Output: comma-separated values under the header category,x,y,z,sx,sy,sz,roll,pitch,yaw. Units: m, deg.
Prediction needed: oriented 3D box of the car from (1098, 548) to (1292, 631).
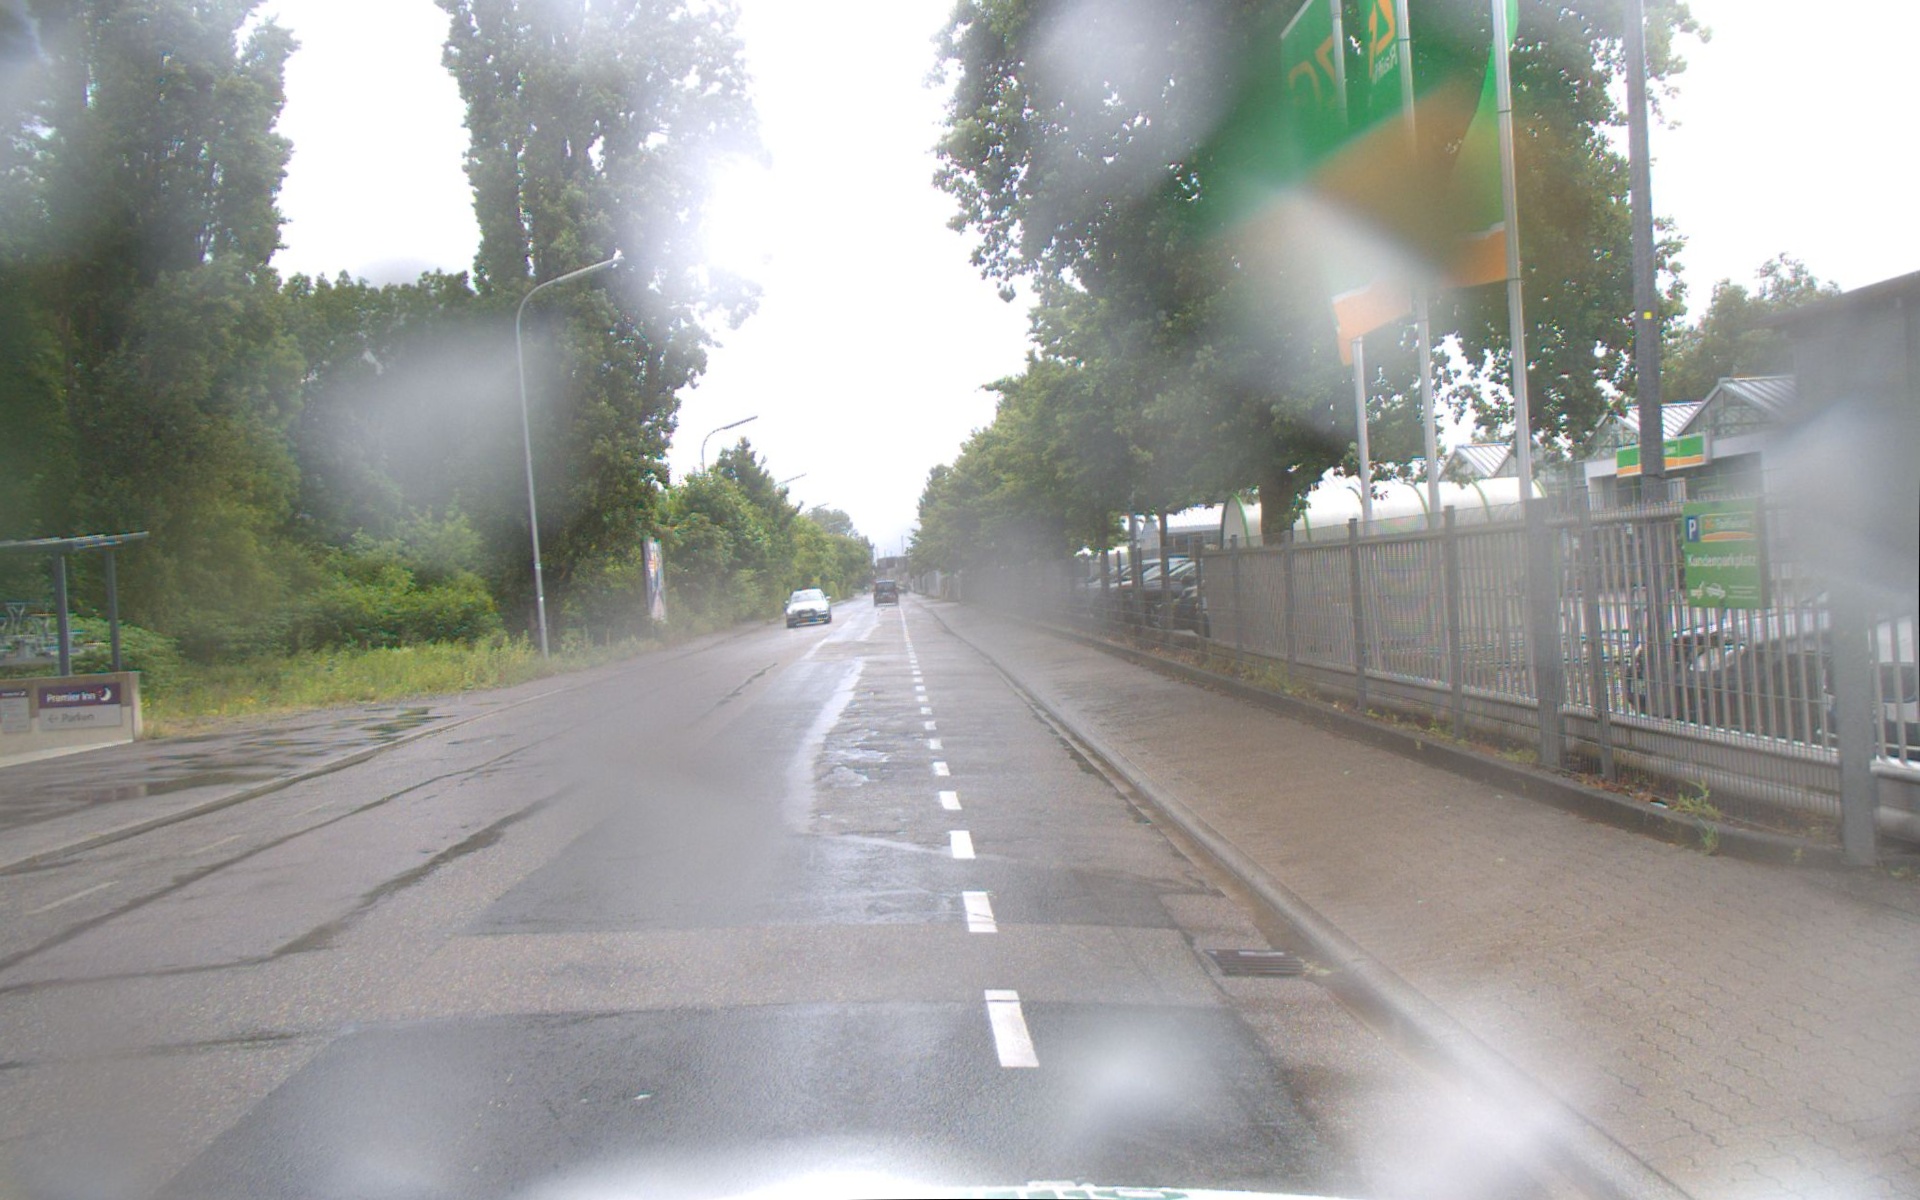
category,x,y,z,sx,sy,sz,roll,pitch,yaw
car,5.546,-0.254,39.221,4.132,1.646,1.820,-4,1,-10

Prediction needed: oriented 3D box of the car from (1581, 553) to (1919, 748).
category,x,y,z,sx,sy,sz,roll,pitch,yaw
car,6.903,0.298,12.395,3.861,1.278,1.618,-3,0,-4

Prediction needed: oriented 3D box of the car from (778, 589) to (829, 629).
category,x,y,z,sx,sy,sz,roll,pitch,yaw
car,-6.549,0.353,69.486,1.699,1.475,4.379,-6,0,-1

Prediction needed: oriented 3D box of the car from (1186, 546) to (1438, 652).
category,x,y,z,sx,sy,sz,roll,pitch,yaw
car,6.428,-0.024,30.482,4.125,1.628,1.823,-4,1,-4

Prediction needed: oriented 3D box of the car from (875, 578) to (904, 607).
category,x,y,z,sx,sy,sz,roll,pitch,yaw
car,-5.162,-0.527,120.764,1.954,1.943,4.198,-4,0,-3

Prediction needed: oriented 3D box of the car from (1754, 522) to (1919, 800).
category,x,y,z,sx,sy,sz,roll,pitch,yaw
car,7.383,0.204,9.631,4.610,1.488,1.889,-3,0,-4
